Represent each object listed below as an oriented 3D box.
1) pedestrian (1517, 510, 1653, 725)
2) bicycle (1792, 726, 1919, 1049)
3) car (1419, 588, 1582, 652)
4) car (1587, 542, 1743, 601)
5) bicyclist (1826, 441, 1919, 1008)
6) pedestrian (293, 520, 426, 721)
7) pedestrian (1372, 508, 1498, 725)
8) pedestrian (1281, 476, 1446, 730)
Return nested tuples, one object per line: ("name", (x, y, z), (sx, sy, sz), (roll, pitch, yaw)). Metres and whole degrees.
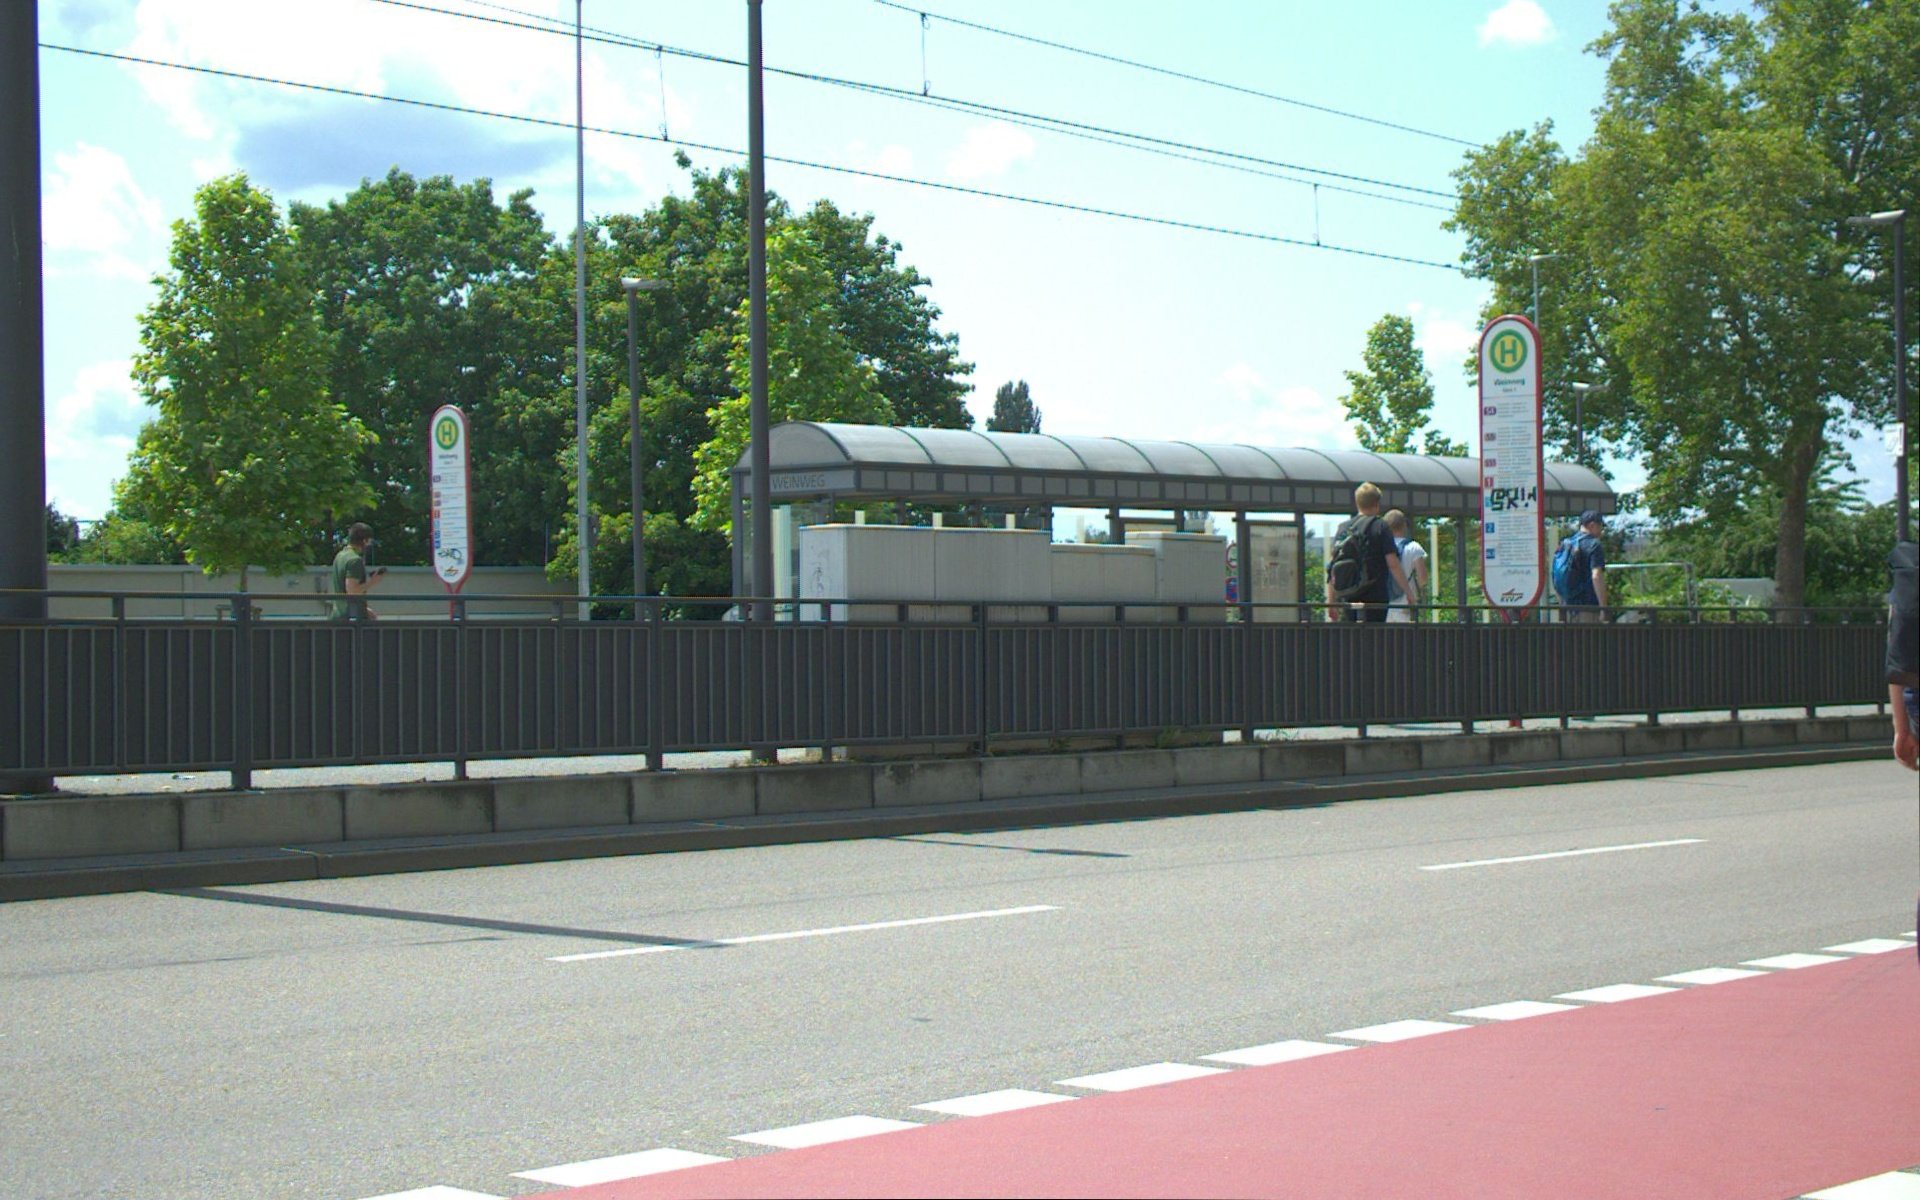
("pedestrian", (5.191, 0.139, 28.552), (0.735, 1.750, 0.927), (0, 0, 41))
("bicycle", (3.620, 0.941, 11.761), (0.621, 0.996, 2.018), (1, 0, 41))
("car", (14.542, 0.516, 92.582), (3.924, 1.656, 1.905), (0, 1, 42))
("car", (20.075, -0.823, 97.911), (3.924, 1.656, 1.905), (0, 1, 42))
("bicyclist", (3.401, 0.404, 11.503), (0.611, 1.840, 0.922), (1, 0, 41))
("pedestrian", (-5.469, 0.179, 31.305), (0.735, 1.801, 0.927), (0, 0, 41))
("pedestrian", (4.128, 0.134, 29.924), (0.873, 1.865, 0.677), (-1, 1, -18))
("pedestrian", (3.151, 0.010, 26.848), (0.875, 1.932, 0.992), (0, 1, 40))
